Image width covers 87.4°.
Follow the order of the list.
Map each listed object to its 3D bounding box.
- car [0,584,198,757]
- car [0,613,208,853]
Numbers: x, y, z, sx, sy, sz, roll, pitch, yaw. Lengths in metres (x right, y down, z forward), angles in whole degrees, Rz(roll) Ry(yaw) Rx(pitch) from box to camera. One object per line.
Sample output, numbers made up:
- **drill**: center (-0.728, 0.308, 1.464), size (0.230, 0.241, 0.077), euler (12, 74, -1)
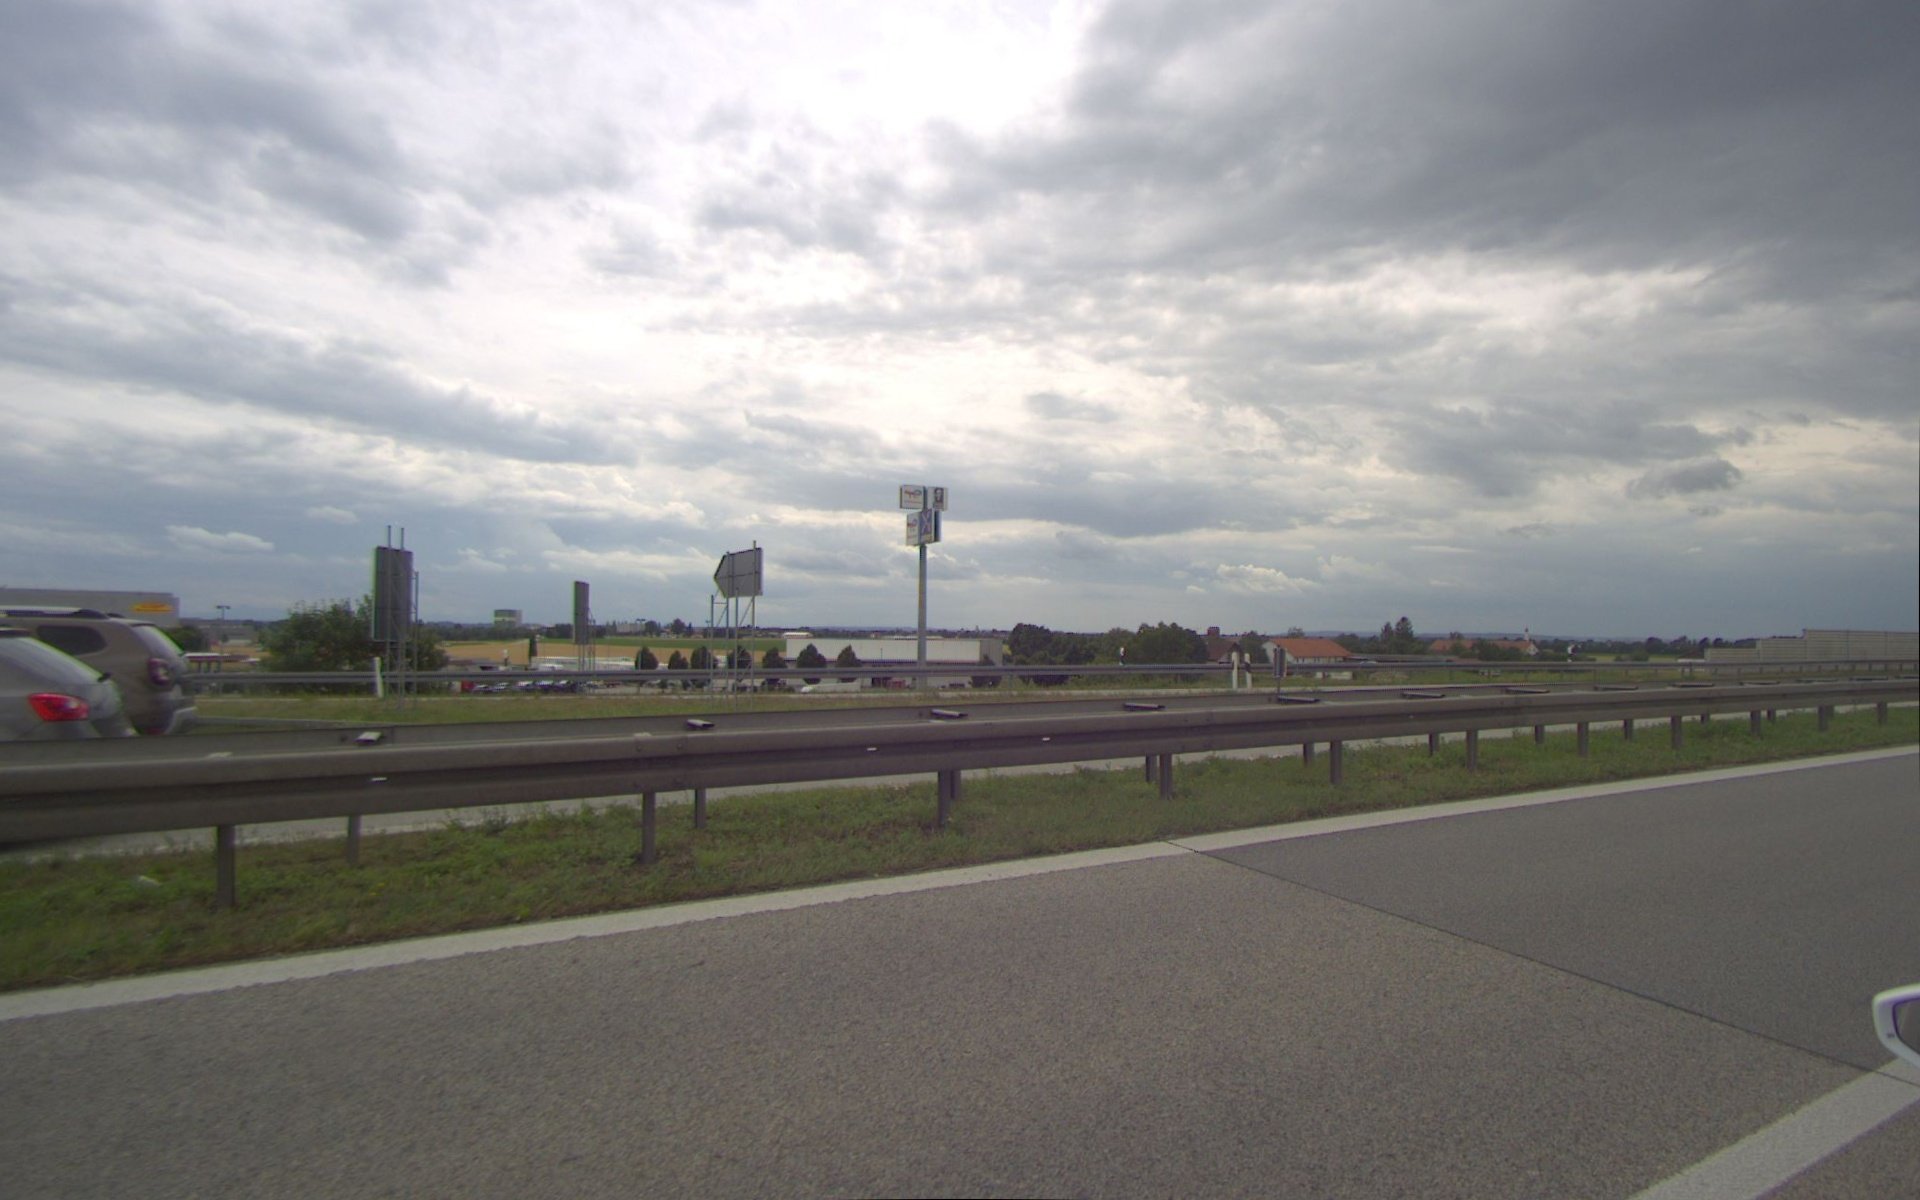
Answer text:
- **car**: center (-9.781, 0.624, 9.443), size (3.953, 1.412, 1.791), euler (1, 5, -31)
- **car**: center (-7.152, 0.797, 6.071), size (3.953, 1.411, 1.791), euler (1, -2, -31)
